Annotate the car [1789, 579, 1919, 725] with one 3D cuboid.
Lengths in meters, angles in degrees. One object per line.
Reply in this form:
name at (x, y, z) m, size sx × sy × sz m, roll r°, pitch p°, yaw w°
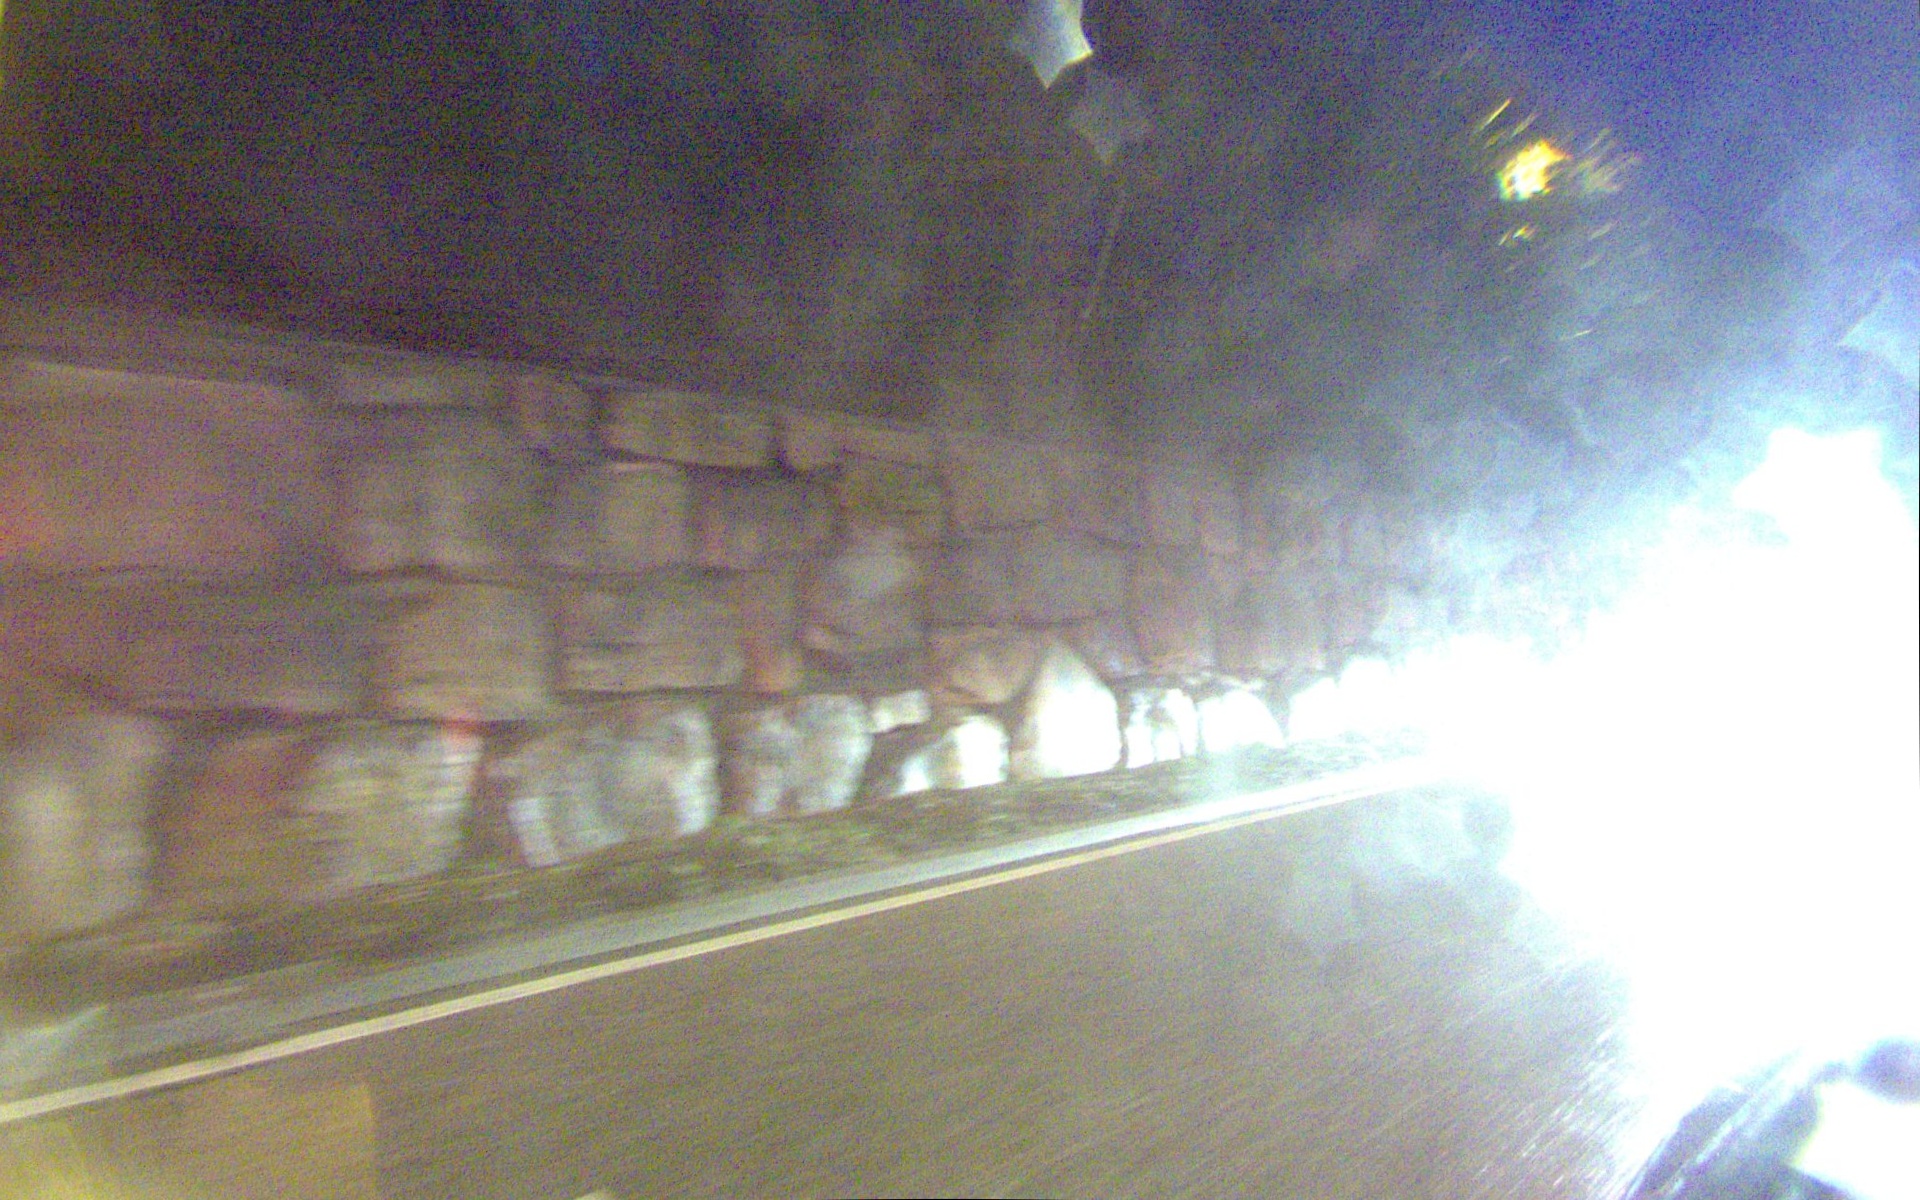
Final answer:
car at (12.694, 0.605, 13.466) m, size 4.143 × 1.715 × 1.790 m, roll 0°, pitch 0°, yaw -39°
